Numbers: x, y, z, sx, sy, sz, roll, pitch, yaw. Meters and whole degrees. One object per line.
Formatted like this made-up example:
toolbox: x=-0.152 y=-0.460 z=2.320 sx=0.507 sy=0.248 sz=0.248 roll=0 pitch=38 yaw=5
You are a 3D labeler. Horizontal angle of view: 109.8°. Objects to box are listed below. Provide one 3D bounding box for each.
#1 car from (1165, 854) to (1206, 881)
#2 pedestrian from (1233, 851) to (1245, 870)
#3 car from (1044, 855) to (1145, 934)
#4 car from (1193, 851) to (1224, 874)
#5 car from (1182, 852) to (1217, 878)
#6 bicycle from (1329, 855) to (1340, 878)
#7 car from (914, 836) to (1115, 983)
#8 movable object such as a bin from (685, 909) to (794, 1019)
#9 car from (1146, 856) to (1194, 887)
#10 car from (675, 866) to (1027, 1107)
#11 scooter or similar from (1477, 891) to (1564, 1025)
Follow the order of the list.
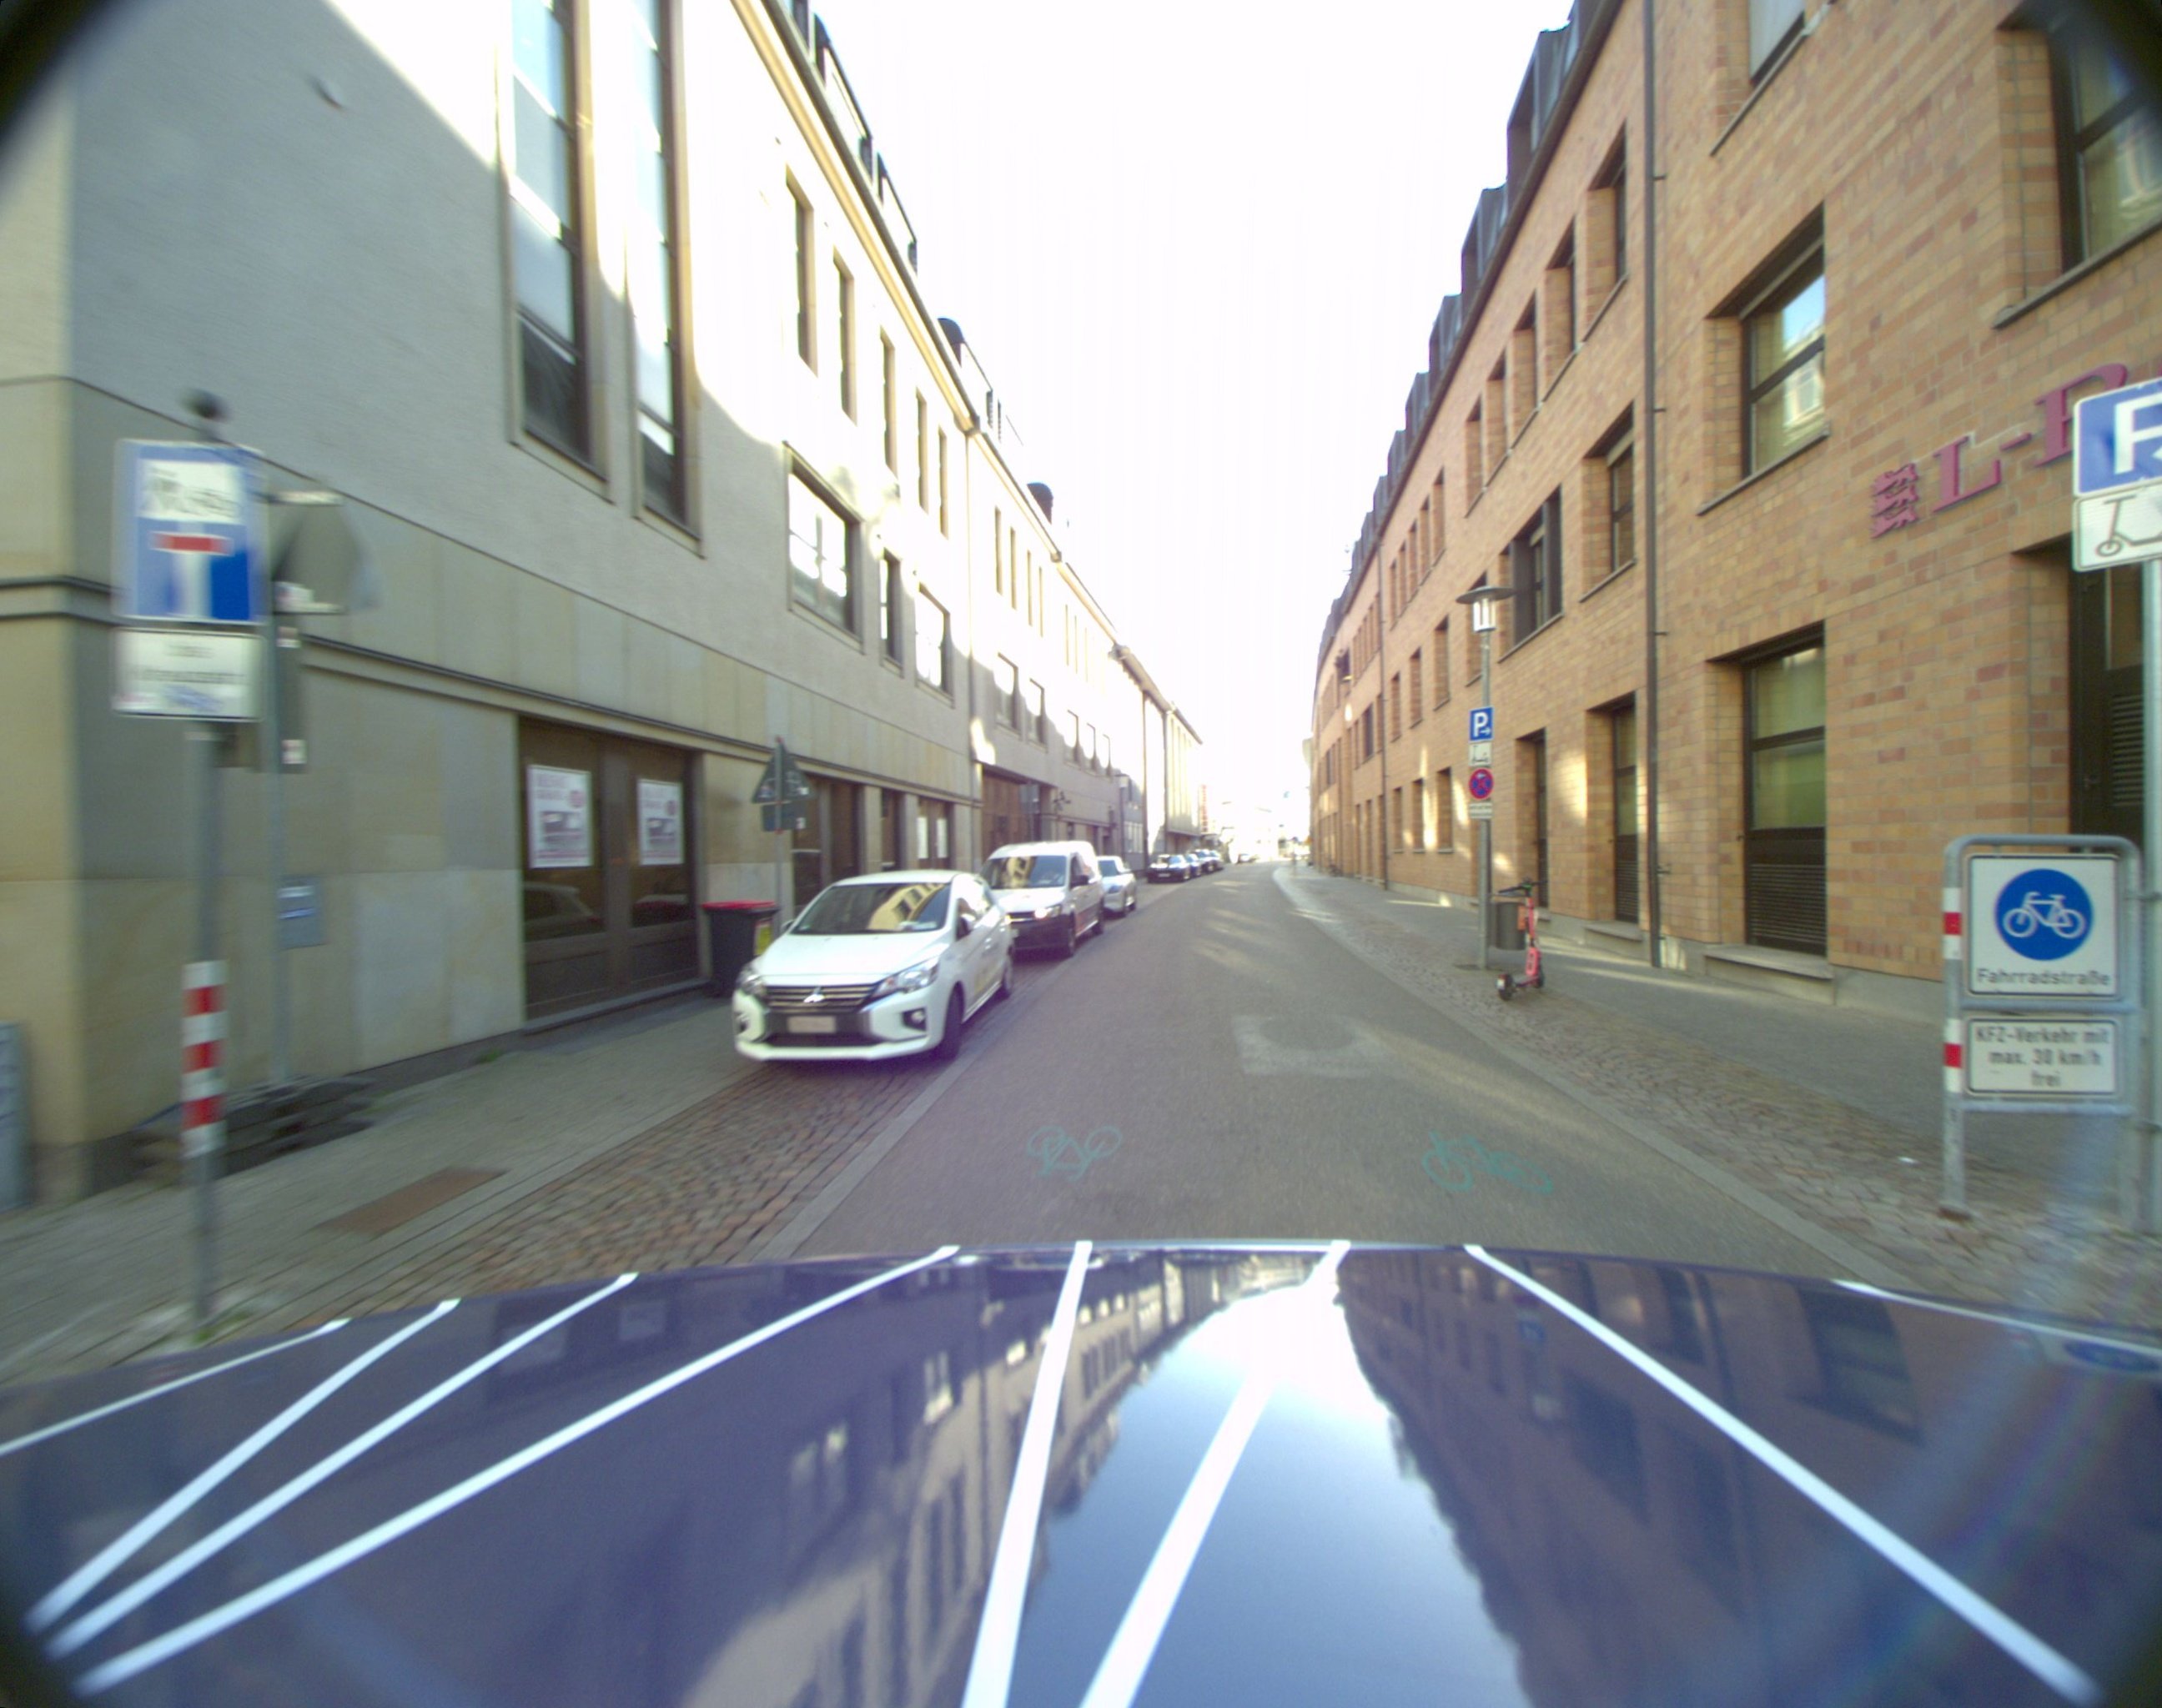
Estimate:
car: x=6.346 y=0.794 z=45.743 sx=1.963 sy=1.400 sz=4.200 roll=-3 pitch=0 yaw=13
pedestrian: x=17.103 y=0.657 z=82.438 sx=0.944 sy=2.002 sz=0.899 roll=-2 pitch=1 yaw=-7
car: x=0.458 y=0.922 z=18.937 sx=1.774 sy=1.574 sz=3.859 roll=-6 pitch=0 yaw=10
car: x=9.895 y=0.624 z=58.780 sx=1.963 sy=1.637 sz=4.200 roll=-3 pitch=0 yaw=13
car: x=8.109 y=0.715 z=51.577 sx=1.963 sy=1.527 sz=4.200 roll=-3 pitch=0 yaw=13
bicycle: x=13.332 y=0.647 z=39.988 sx=0.431 sy=1.137 sz=1.692 roll=-2 pitch=0 yaw=15
car: x=-0.817 y=0.759 z=12.963 sx=1.946 sy=1.850 sz=5.198 roll=-6 pitch=-1 yaw=10
movable object such as a bin: x=-3.790 y=1.197 z=8.497 sx=0.687 sy=1.079 sz=0.930 roll=-2 pitch=0 yaw=6
car: x=4.686 y=0.871 z=39.469 sx=1.963 sy=1.400 sz=4.200 roll=-3 pitch=0 yaw=13
car: x=-1.722 y=0.947 z=7.158 sx=1.734 sy=1.539 sz=4.002 roll=-2 pitch=0 yaw=5
scooter or similar: x=4.537 y=1.015 z=7.812 sx=0.467 sy=1.217 sz=1.303 roll=0 pitch=0 yaw=44
